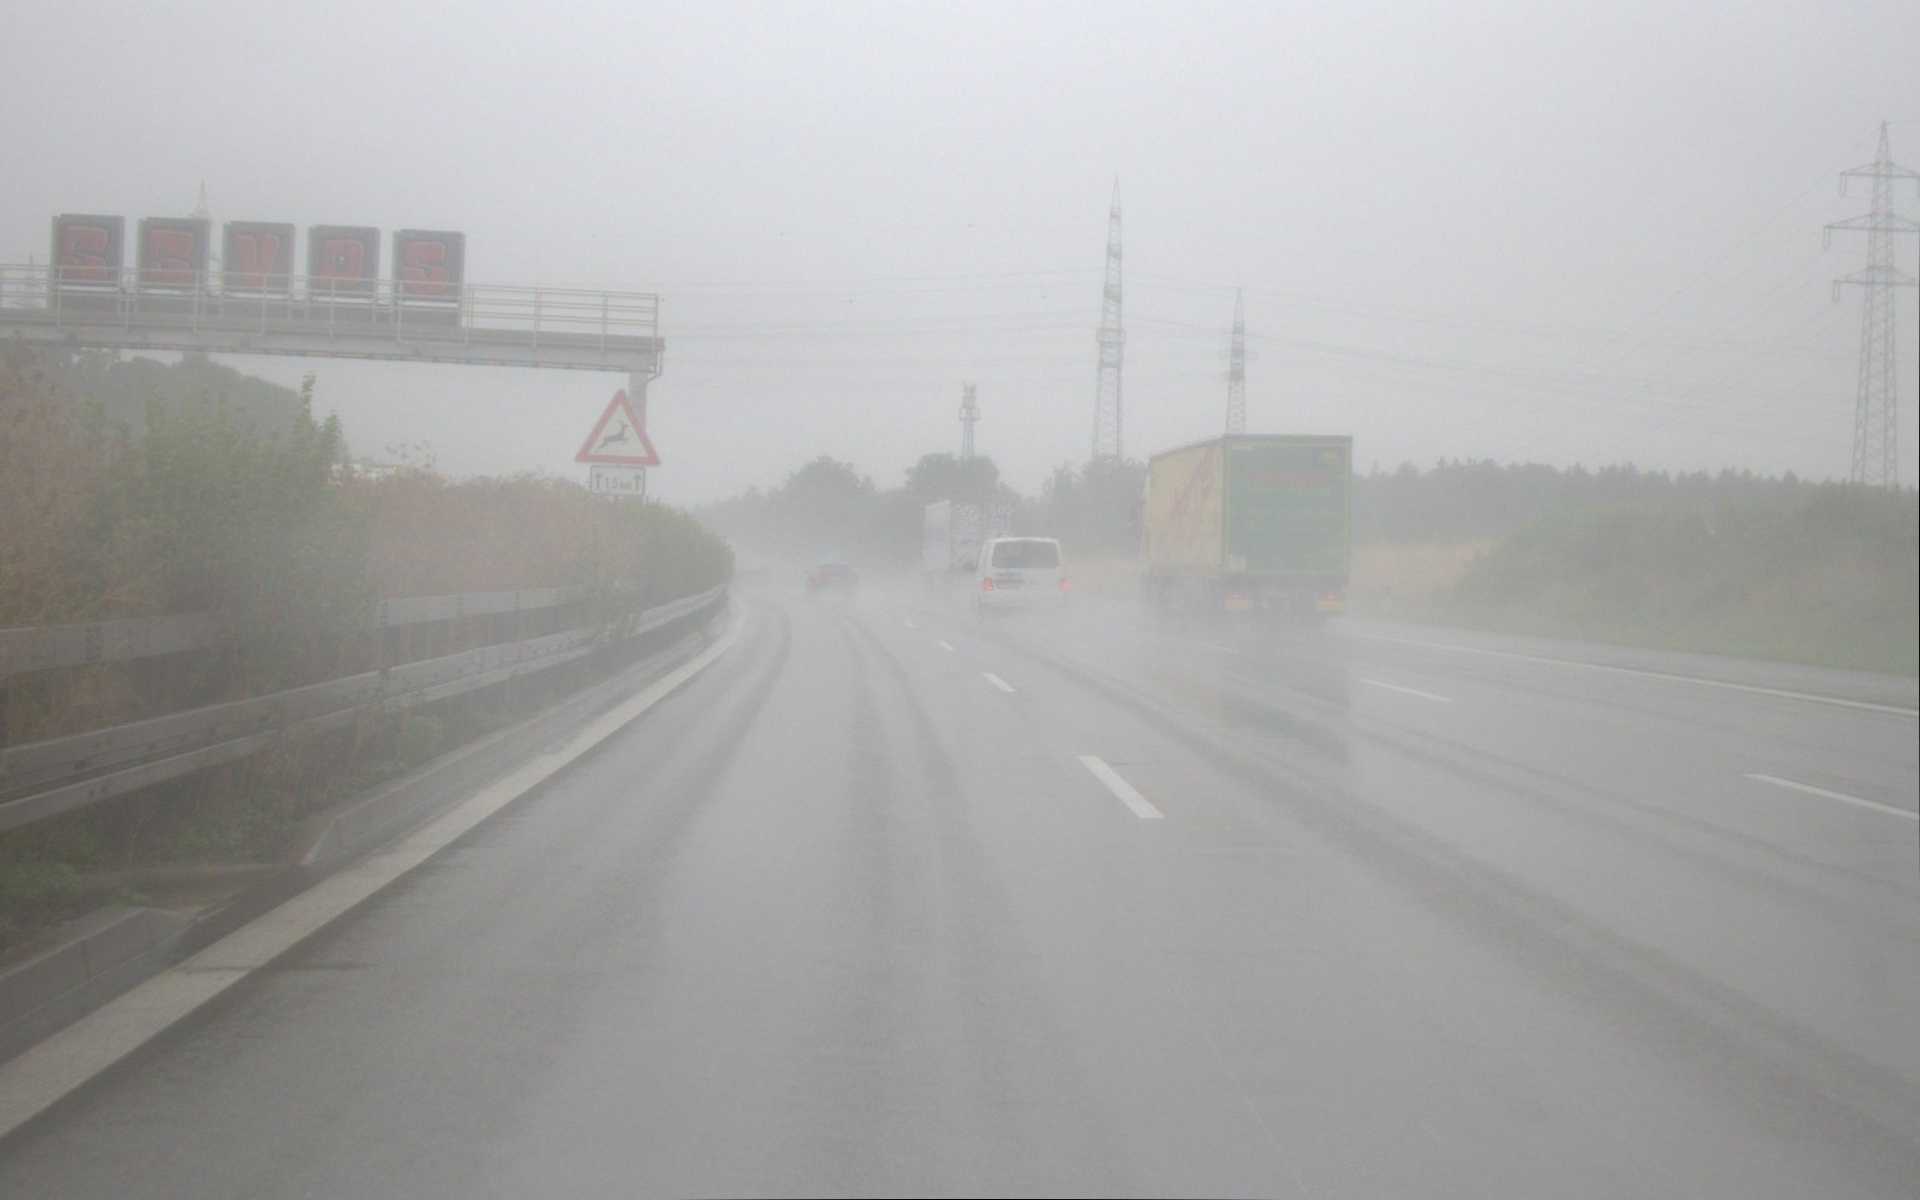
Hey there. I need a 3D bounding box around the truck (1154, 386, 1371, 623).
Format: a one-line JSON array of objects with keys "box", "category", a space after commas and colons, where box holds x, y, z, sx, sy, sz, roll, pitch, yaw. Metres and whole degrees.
[{"box": [6.394, -1.958, 75.148, 4.189, 4.614, 16.103, 0, 1, 4], "category": "truck"}]

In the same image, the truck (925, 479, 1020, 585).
[{"box": [0.464, -2.852, 144.085, 3.232, 4.296, 8.838, 0, 1, -5], "category": "truck"}]

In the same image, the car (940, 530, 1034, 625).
[{"box": [0.611, -0.520, 74.911, 1.993, 2.007, 4.000, 0, 1, 1], "category": "car"}]
